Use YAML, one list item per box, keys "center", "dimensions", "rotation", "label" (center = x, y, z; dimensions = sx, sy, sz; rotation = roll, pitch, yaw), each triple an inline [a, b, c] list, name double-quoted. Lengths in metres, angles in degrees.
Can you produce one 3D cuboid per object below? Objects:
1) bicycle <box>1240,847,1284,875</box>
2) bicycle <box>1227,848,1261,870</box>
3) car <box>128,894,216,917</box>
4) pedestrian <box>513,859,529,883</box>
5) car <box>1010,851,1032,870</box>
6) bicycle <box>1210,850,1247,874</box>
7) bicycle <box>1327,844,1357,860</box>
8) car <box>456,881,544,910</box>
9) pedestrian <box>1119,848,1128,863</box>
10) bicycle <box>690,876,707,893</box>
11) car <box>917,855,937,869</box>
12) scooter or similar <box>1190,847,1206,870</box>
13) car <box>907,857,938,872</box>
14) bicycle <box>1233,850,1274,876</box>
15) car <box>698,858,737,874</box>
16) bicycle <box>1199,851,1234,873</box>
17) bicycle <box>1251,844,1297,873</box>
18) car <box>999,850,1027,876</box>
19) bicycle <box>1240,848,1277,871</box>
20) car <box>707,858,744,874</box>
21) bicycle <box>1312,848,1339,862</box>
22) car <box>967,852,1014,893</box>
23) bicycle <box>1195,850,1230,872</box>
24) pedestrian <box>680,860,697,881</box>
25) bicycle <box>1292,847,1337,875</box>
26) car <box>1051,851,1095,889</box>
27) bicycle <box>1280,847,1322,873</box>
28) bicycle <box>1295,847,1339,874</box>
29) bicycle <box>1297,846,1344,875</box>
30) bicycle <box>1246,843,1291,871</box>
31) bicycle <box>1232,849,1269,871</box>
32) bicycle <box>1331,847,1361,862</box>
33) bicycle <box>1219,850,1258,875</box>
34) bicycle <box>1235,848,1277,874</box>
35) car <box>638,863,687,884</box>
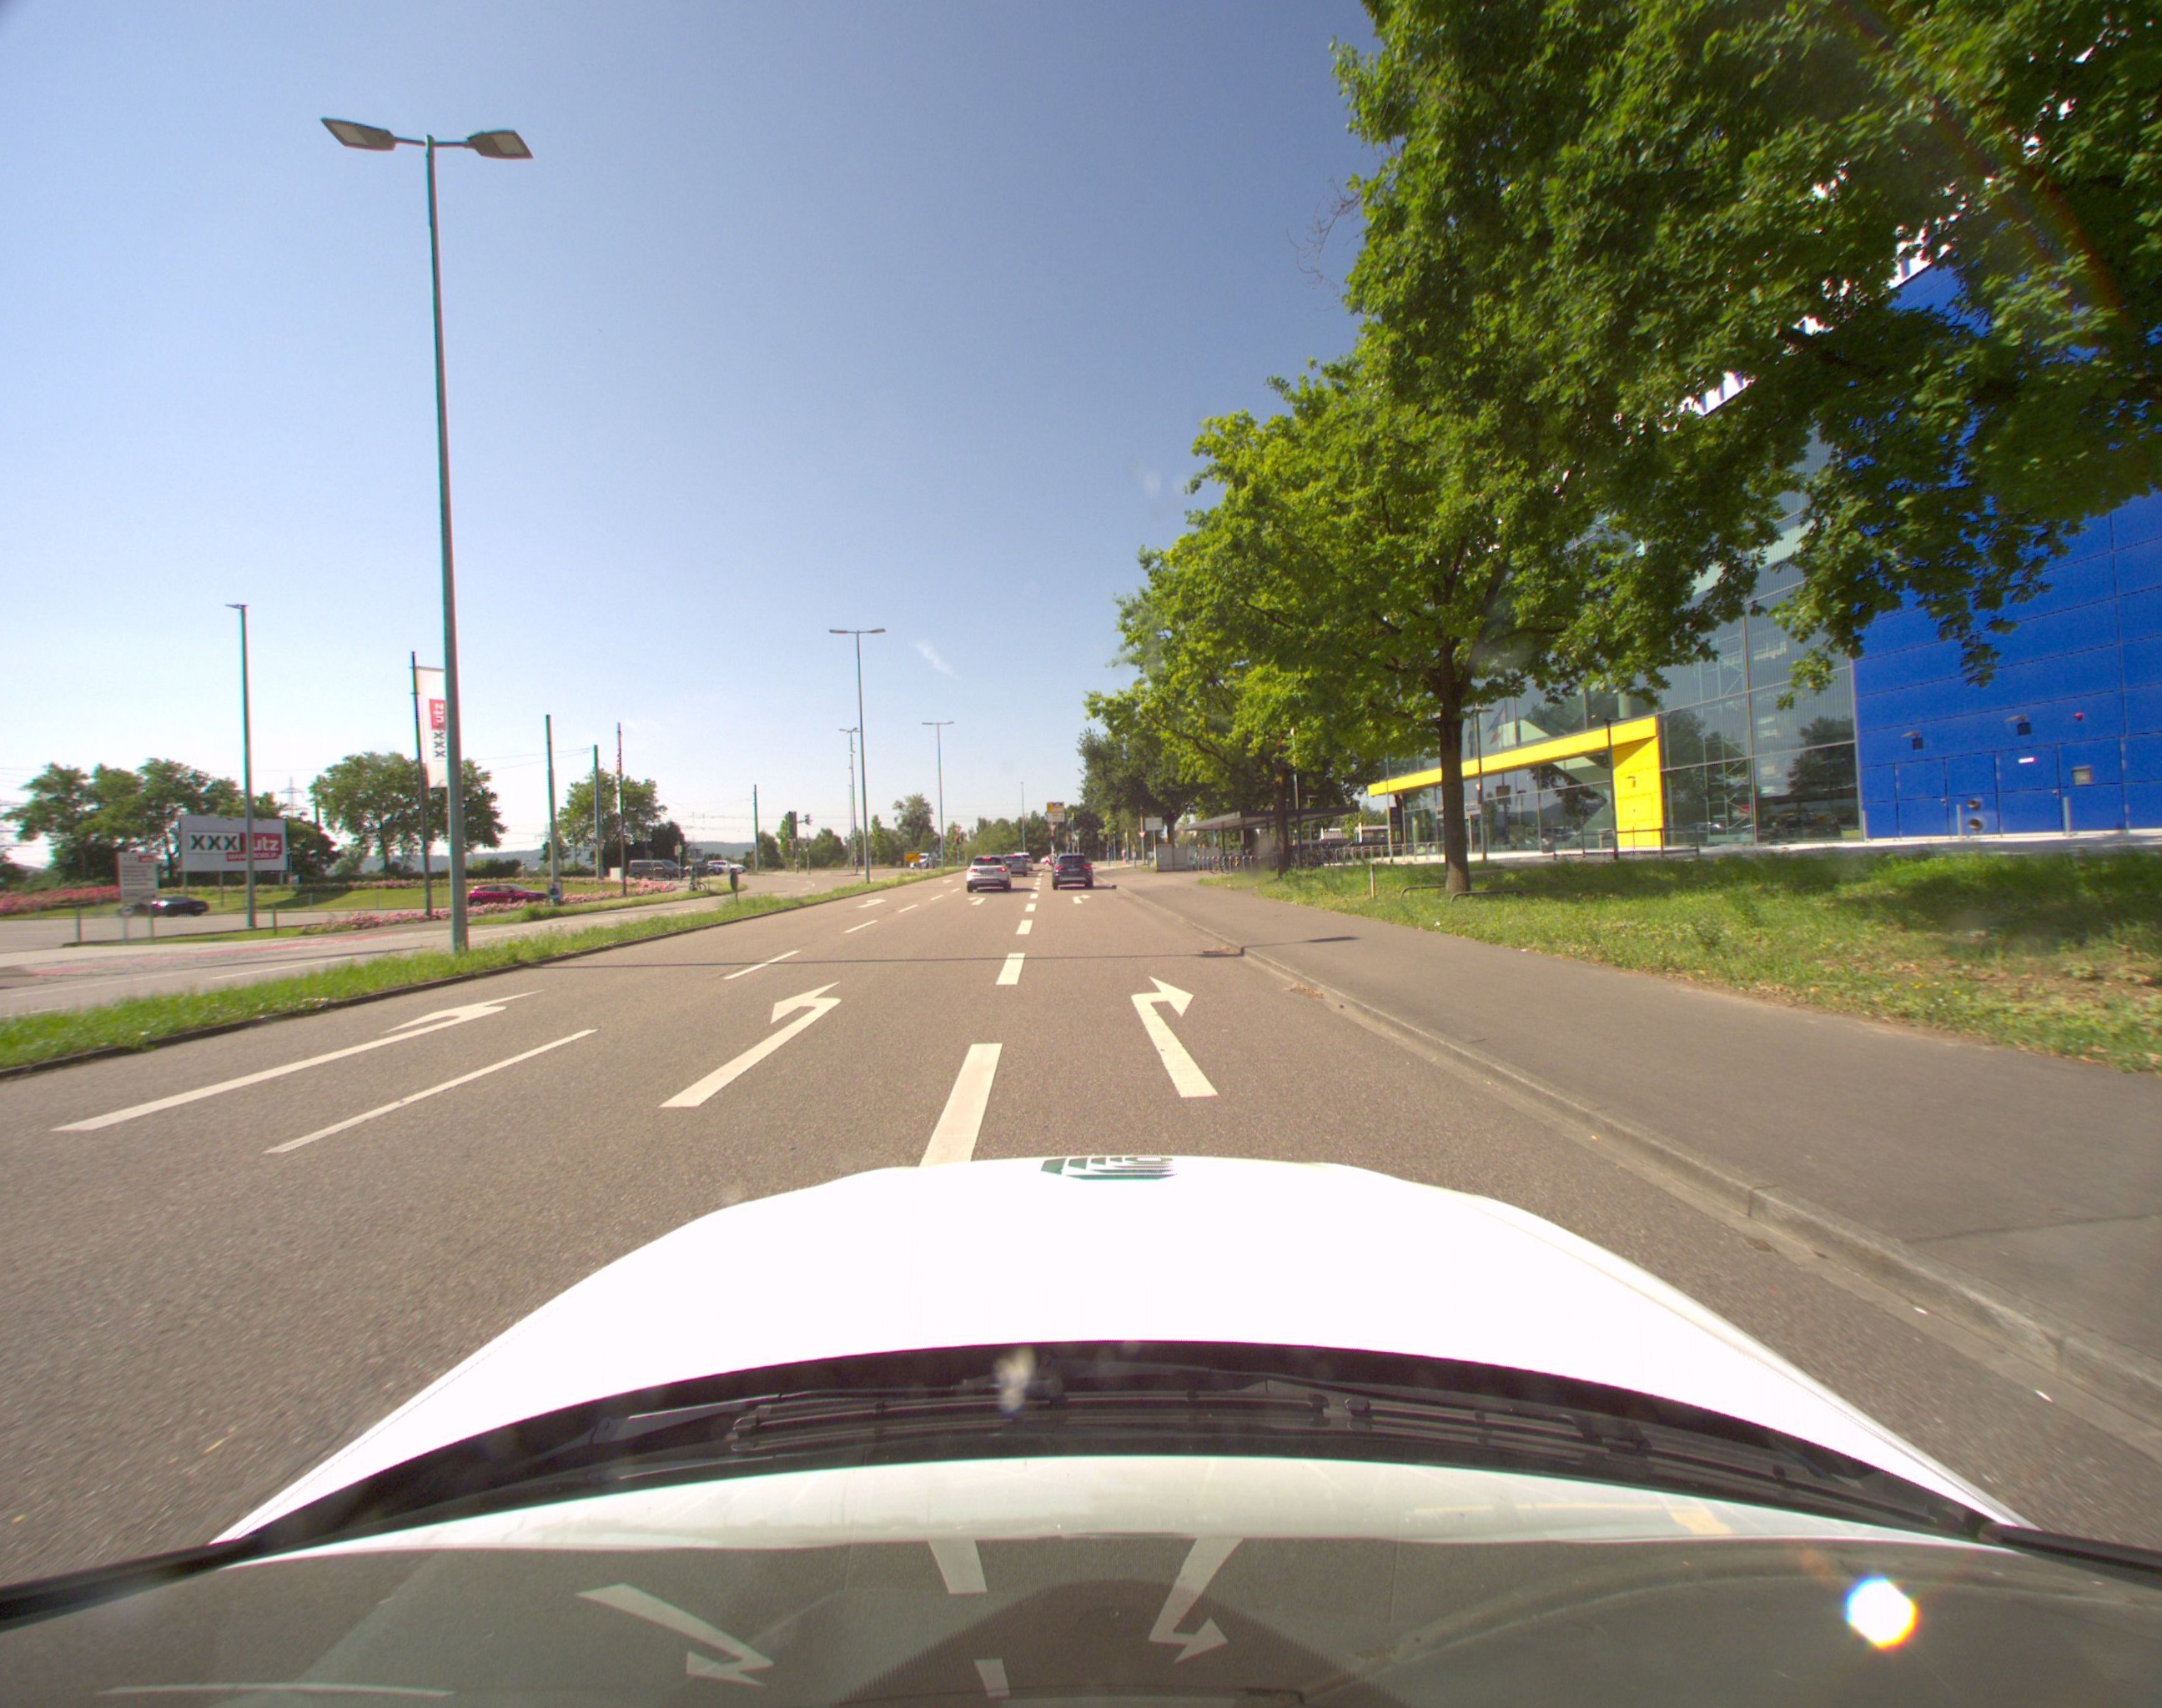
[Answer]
- center: [7.971, 0.305, 35.881]
  dimensions: [1.754, 1.096, 0.452]
  rotation: [-3, 0, -3]
  label: "bicycle"
- center: [8.824, 0.279, 44.113]
  dimensions: [1.754, 1.096, 0.452]
  rotation: [-3, 0, -3]
  label: "bicycle"
- center: [-62.179, 3.502, 55.747]
  dimensions: [3.839, 1.330, 1.726]
  rotation: [-2, -1, -4]
  label: "car"
- center: [-48.453, 1.460, 70.484]
  dimensions: [0.713, 1.972, 0.918]
  rotation: [-2, -2, 2]
  label: "pedestrian"
- center: [-5.054, 0.521, 69.114]
  dimensions: [1.737, 1.448, 4.385]
  rotation: [-2, 0, -2]
  label: "car"
- center: [7.369, 0.384, 40.737]
  dimensions: [1.754, 1.096, 0.452]
  rotation: [-3, 0, -3]
  label: "bicycle"
- center: [15.302, -0.131, 47.734]
  dimensions: [1.557, 0.843, 0.433]
  rotation: [-2, 0, -1]
  label: "bicycle"
- center: [-37.030, 2.626, 52.006]
  dimensions: [4.179, 1.605, 1.822]
  rotation: [-2, -1, -8]
  label: "car"
- center: [4.414, 0.145, 84.354]
  dimensions: [0.768, 1.510, 1.010]
  rotation: [-3, 1, 9]
  label: "pedestrian"
- center: [-23.566, 1.894, 50.192]
  dimensions: [0.330, 1.023, 1.640]
  rotation: [-4, -2, -6]
  label: "bicycle"
- center: [-11.918, 0.577, 63.111]
  dimensions: [1.114, 1.004, 2.491]
  rotation: [-3, 0, -1]
  label: "car"
- center: [6.904, 0.265, 48.078]
  dimensions: [0.775, 1.265, 0.283]
  rotation: [-3, 0, -6]
  label: "scooter or similar"
- center: [-16.854, 1.112, 86.734]
  dimensions: [1.782, 1.547, 4.100]
  rotation: [-2, 0, 12]
  label: "car"
- center: [7.885, 0.393, 37.291]
  dimensions: [1.754, 1.096, 0.452]
  rotation: [-3, 0, -3]
  label: "bicycle"
- center: [-37.507, 1.214, 84.016]
  dimensions: [3.380, 1.500, 1.407]
  rotation: [-2, -1, -5]
  label: "car"
- center: [7.164, 0.414, 43.149]
  dimensions: [1.754, 1.096, 0.452]
  rotation: [-3, 0, -3]
  label: "bicycle"
- center: [7.988, 0.166, 33.728]
  dimensions: [1.754, 1.096, 0.452]
  rotation: [-3, 0, -3]
  label: "bicycle"
- center: [-4.510, 0.591, 54.261]
  dimensions: [1.703, 1.573, 4.168]
  rotation: [-3, 0, -4]
  label: "car"
- center: [9.067, 0.287, 41.713]
  dimensions: [1.754, 1.096, 0.452]
  rotation: [-3, 0, -3]
  label: "bicycle"
- center: [-38.021, 1.285, 87.206]
  dimensions: [3.340, 1.500, 1.406]
  rotation: [-2, -1, -7]
  label: "car"
- center: [15.062, 0.063, 50.193]
  dimensions: [1.557, 0.843, 0.433]
  rotation: [-2, 0, -2]
  label: "bicycle"
- center: [-3.795, 0.734, 34.790]
  dimensions: [1.626, 1.498, 3.868]
  rotation: [-2, 2, -2]
  label: "car"
- center: [7.114, 0.379, 44.147]
  dimensions: [1.754, 1.096, 0.452]
  rotation: [-3, 0, -3]
  label: "bicycle"
- center: [-32.907, 1.365, 68.273]
  dimensions: [0.835, 1.707, 0.908]
  rotation: [-3, 0, 9]
  label: "pedestrian"
- center: [9.976, 0.279, 34.819]
  dimensions: [1.754, 1.096, 0.452]
  rotation: [-3, 0, -3]
  label: "bicycle"
- center: [-0.401, 0.671, 35.413]
  dimensions: [1.667, 1.523, 3.371]
  rotation: [-1, 0, -4]
  label: "car"
- center: [9.986, 0.261, 36.989]
  dimensions: [1.754, 1.096, 0.452]
  rotation: [-3, 0, -3]
  label: "bicycle"
- center: [10.341, 0.273, 35.717]
  dimensions: [1.754, 1.096, 0.452]
  rotation: [-3, 0, -3]
  label: "bicycle"
- center: [9.930, 0.265, 33.751]
  dimensions: [1.754, 1.096, 0.452]
  rotation: [-3, 0, -3]
  label: "bicycle"
- center: [7.972, 0.118, 34.663]
  dimensions: [1.754, 1.096, 0.463]
  rotation: [-3, 0, -3]
  label: "bicycle"
- center: [8.991, 0.317, 43.217]
  dimensions: [1.824, 1.096, 0.452]
  rotation: [-3, 0, -3]
  label: "bicycle"
- center: [15.262, 0.027, 46.879]
  dimensions: [1.557, 0.843, 0.433]
  rotation: [-2, 0, -1]
  label: "bicycle"
- center: [7.633, 0.396, 39.439]
  dimensions: [1.754, 1.096, 0.452]
  rotation: [-3, 0, -3]
  label: "bicycle"
- center: [7.897, 0.319, 36.762]
  dimensions: [1.754, 1.096, 0.452]
  rotation: [-3, 0, -3]
  label: "bicycle"
- center: [-39.129, 1.806, 76.169]
  dimensions: [3.954, 1.925, 1.825]
  rotation: [-1, 1, 19]
  label: "car"
